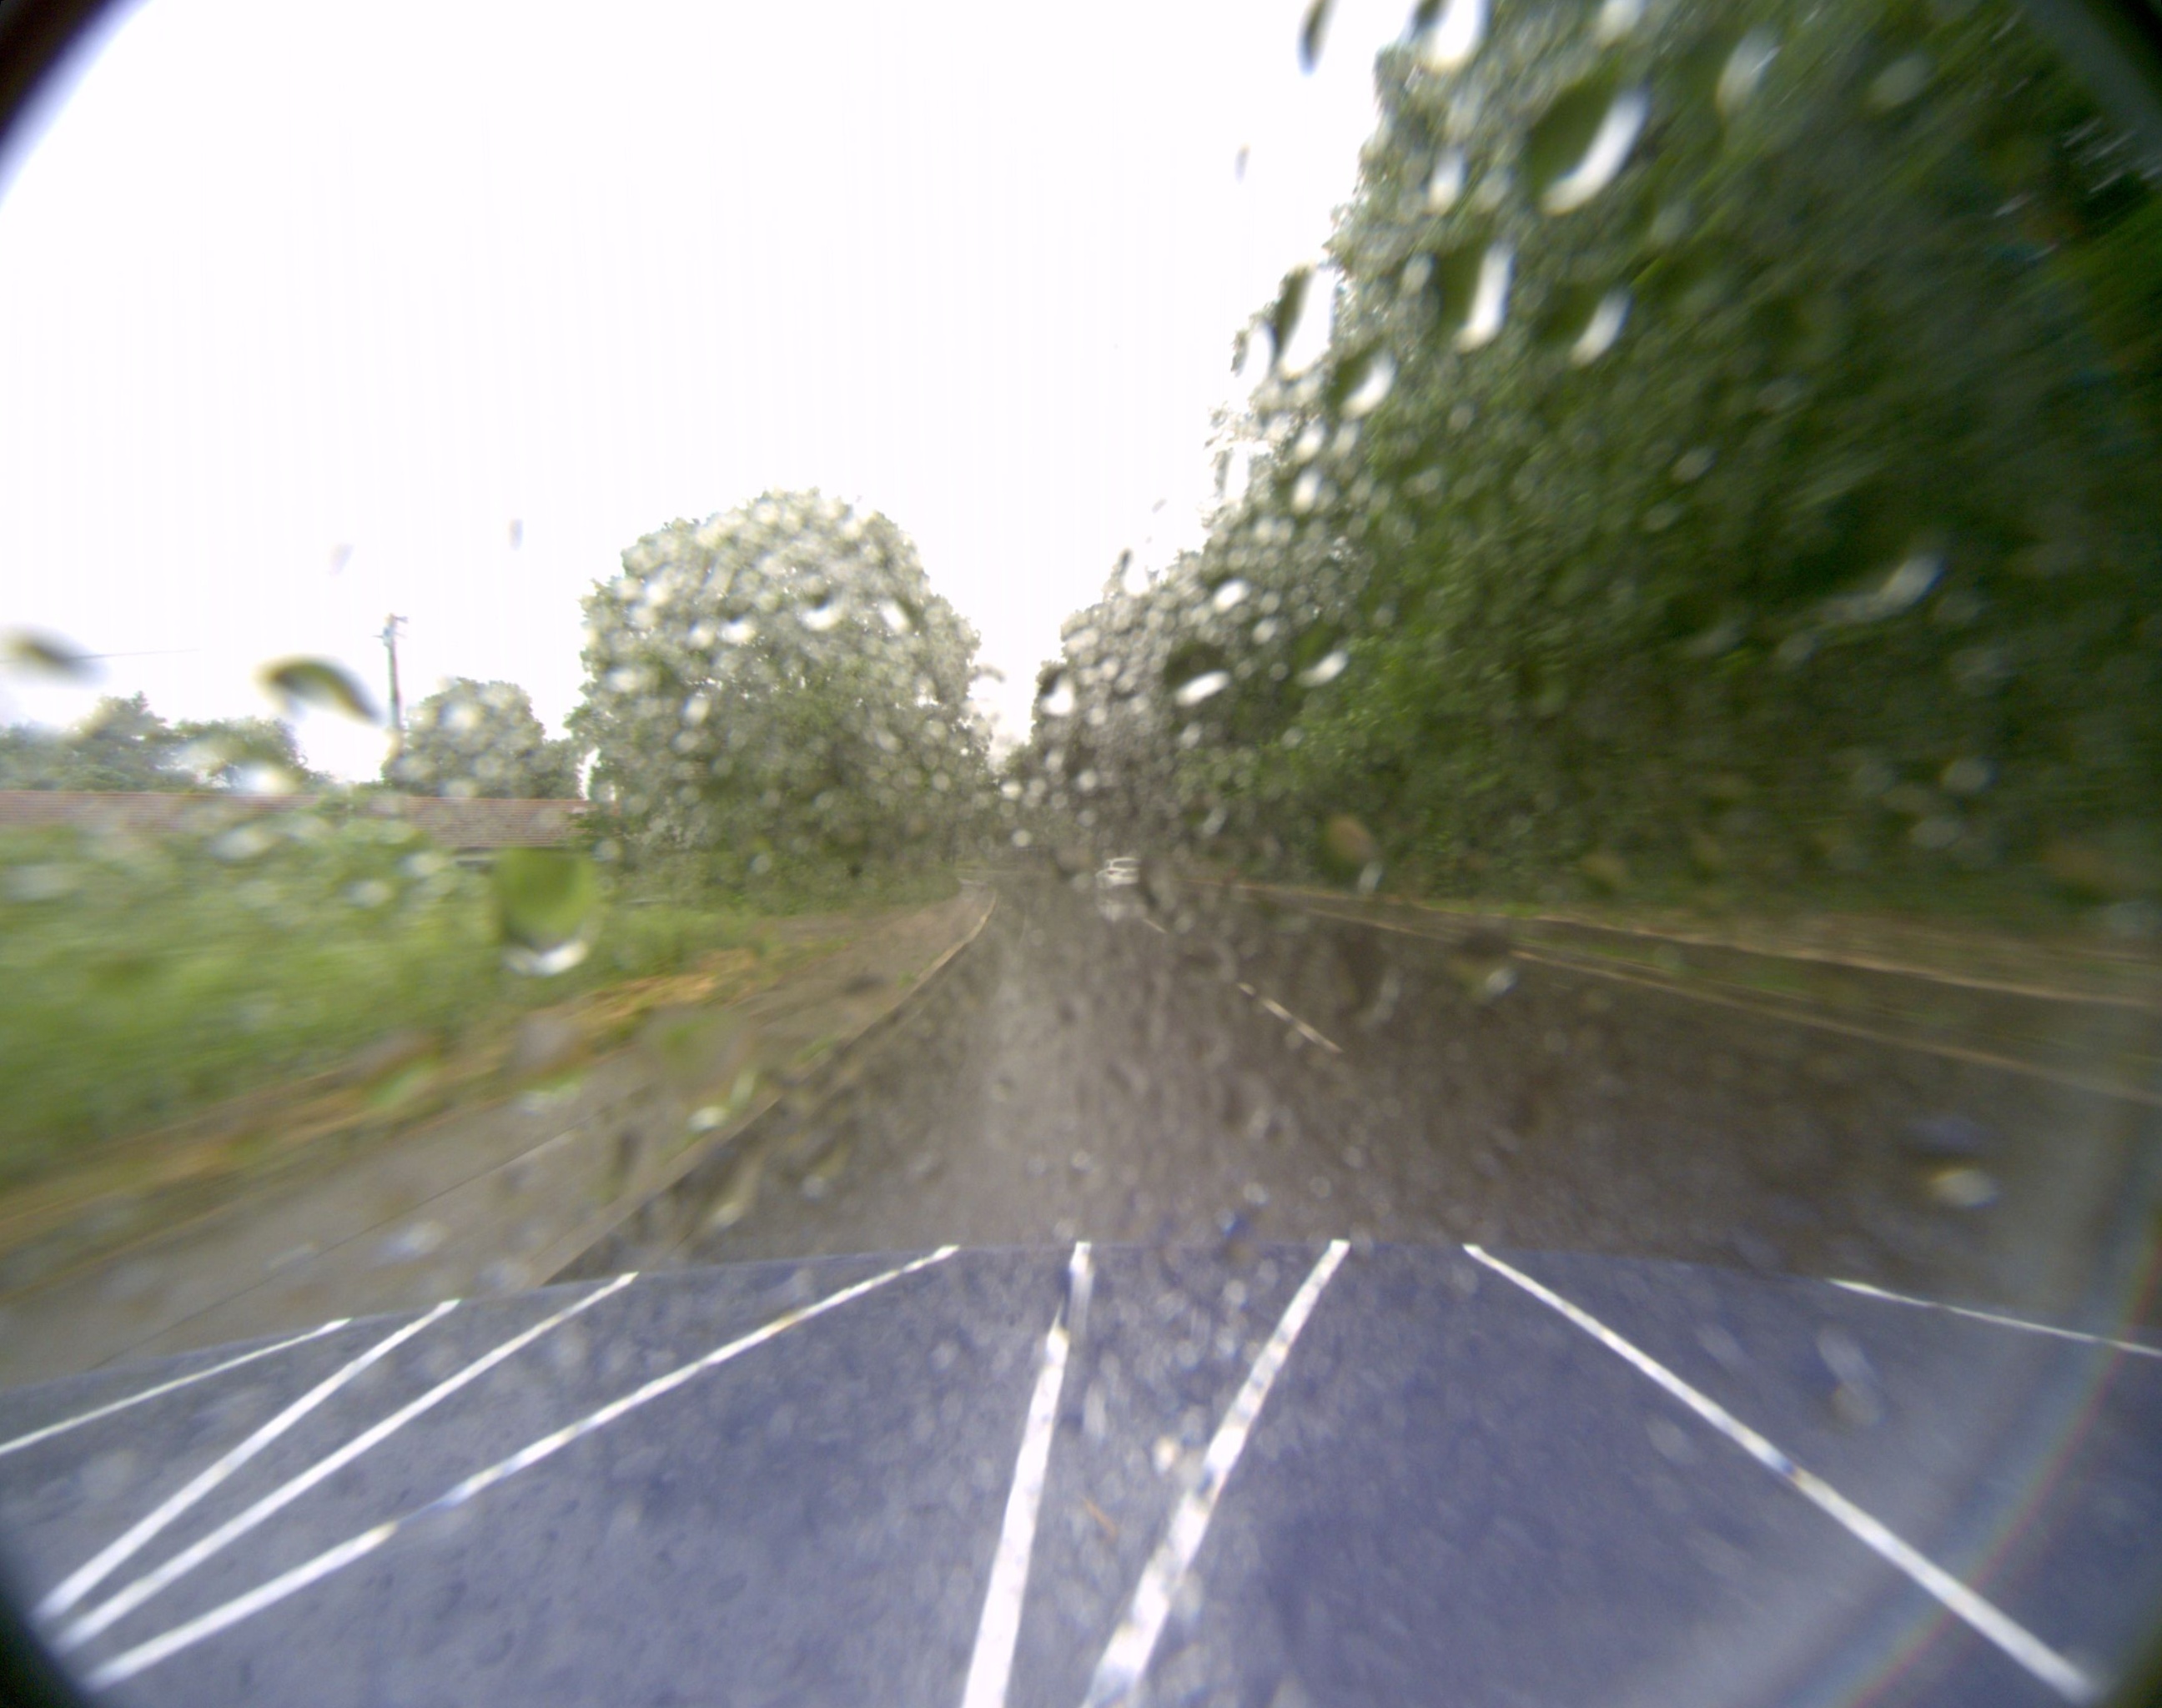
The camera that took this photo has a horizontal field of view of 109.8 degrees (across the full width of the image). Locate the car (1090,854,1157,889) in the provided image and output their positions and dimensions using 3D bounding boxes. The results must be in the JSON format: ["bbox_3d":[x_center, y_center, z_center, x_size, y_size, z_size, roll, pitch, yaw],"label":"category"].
[{"bbox_3d":[1.740,0.699,32.600,2.142,1.341,4.304,-3,0,-7],"label":"car"}]
